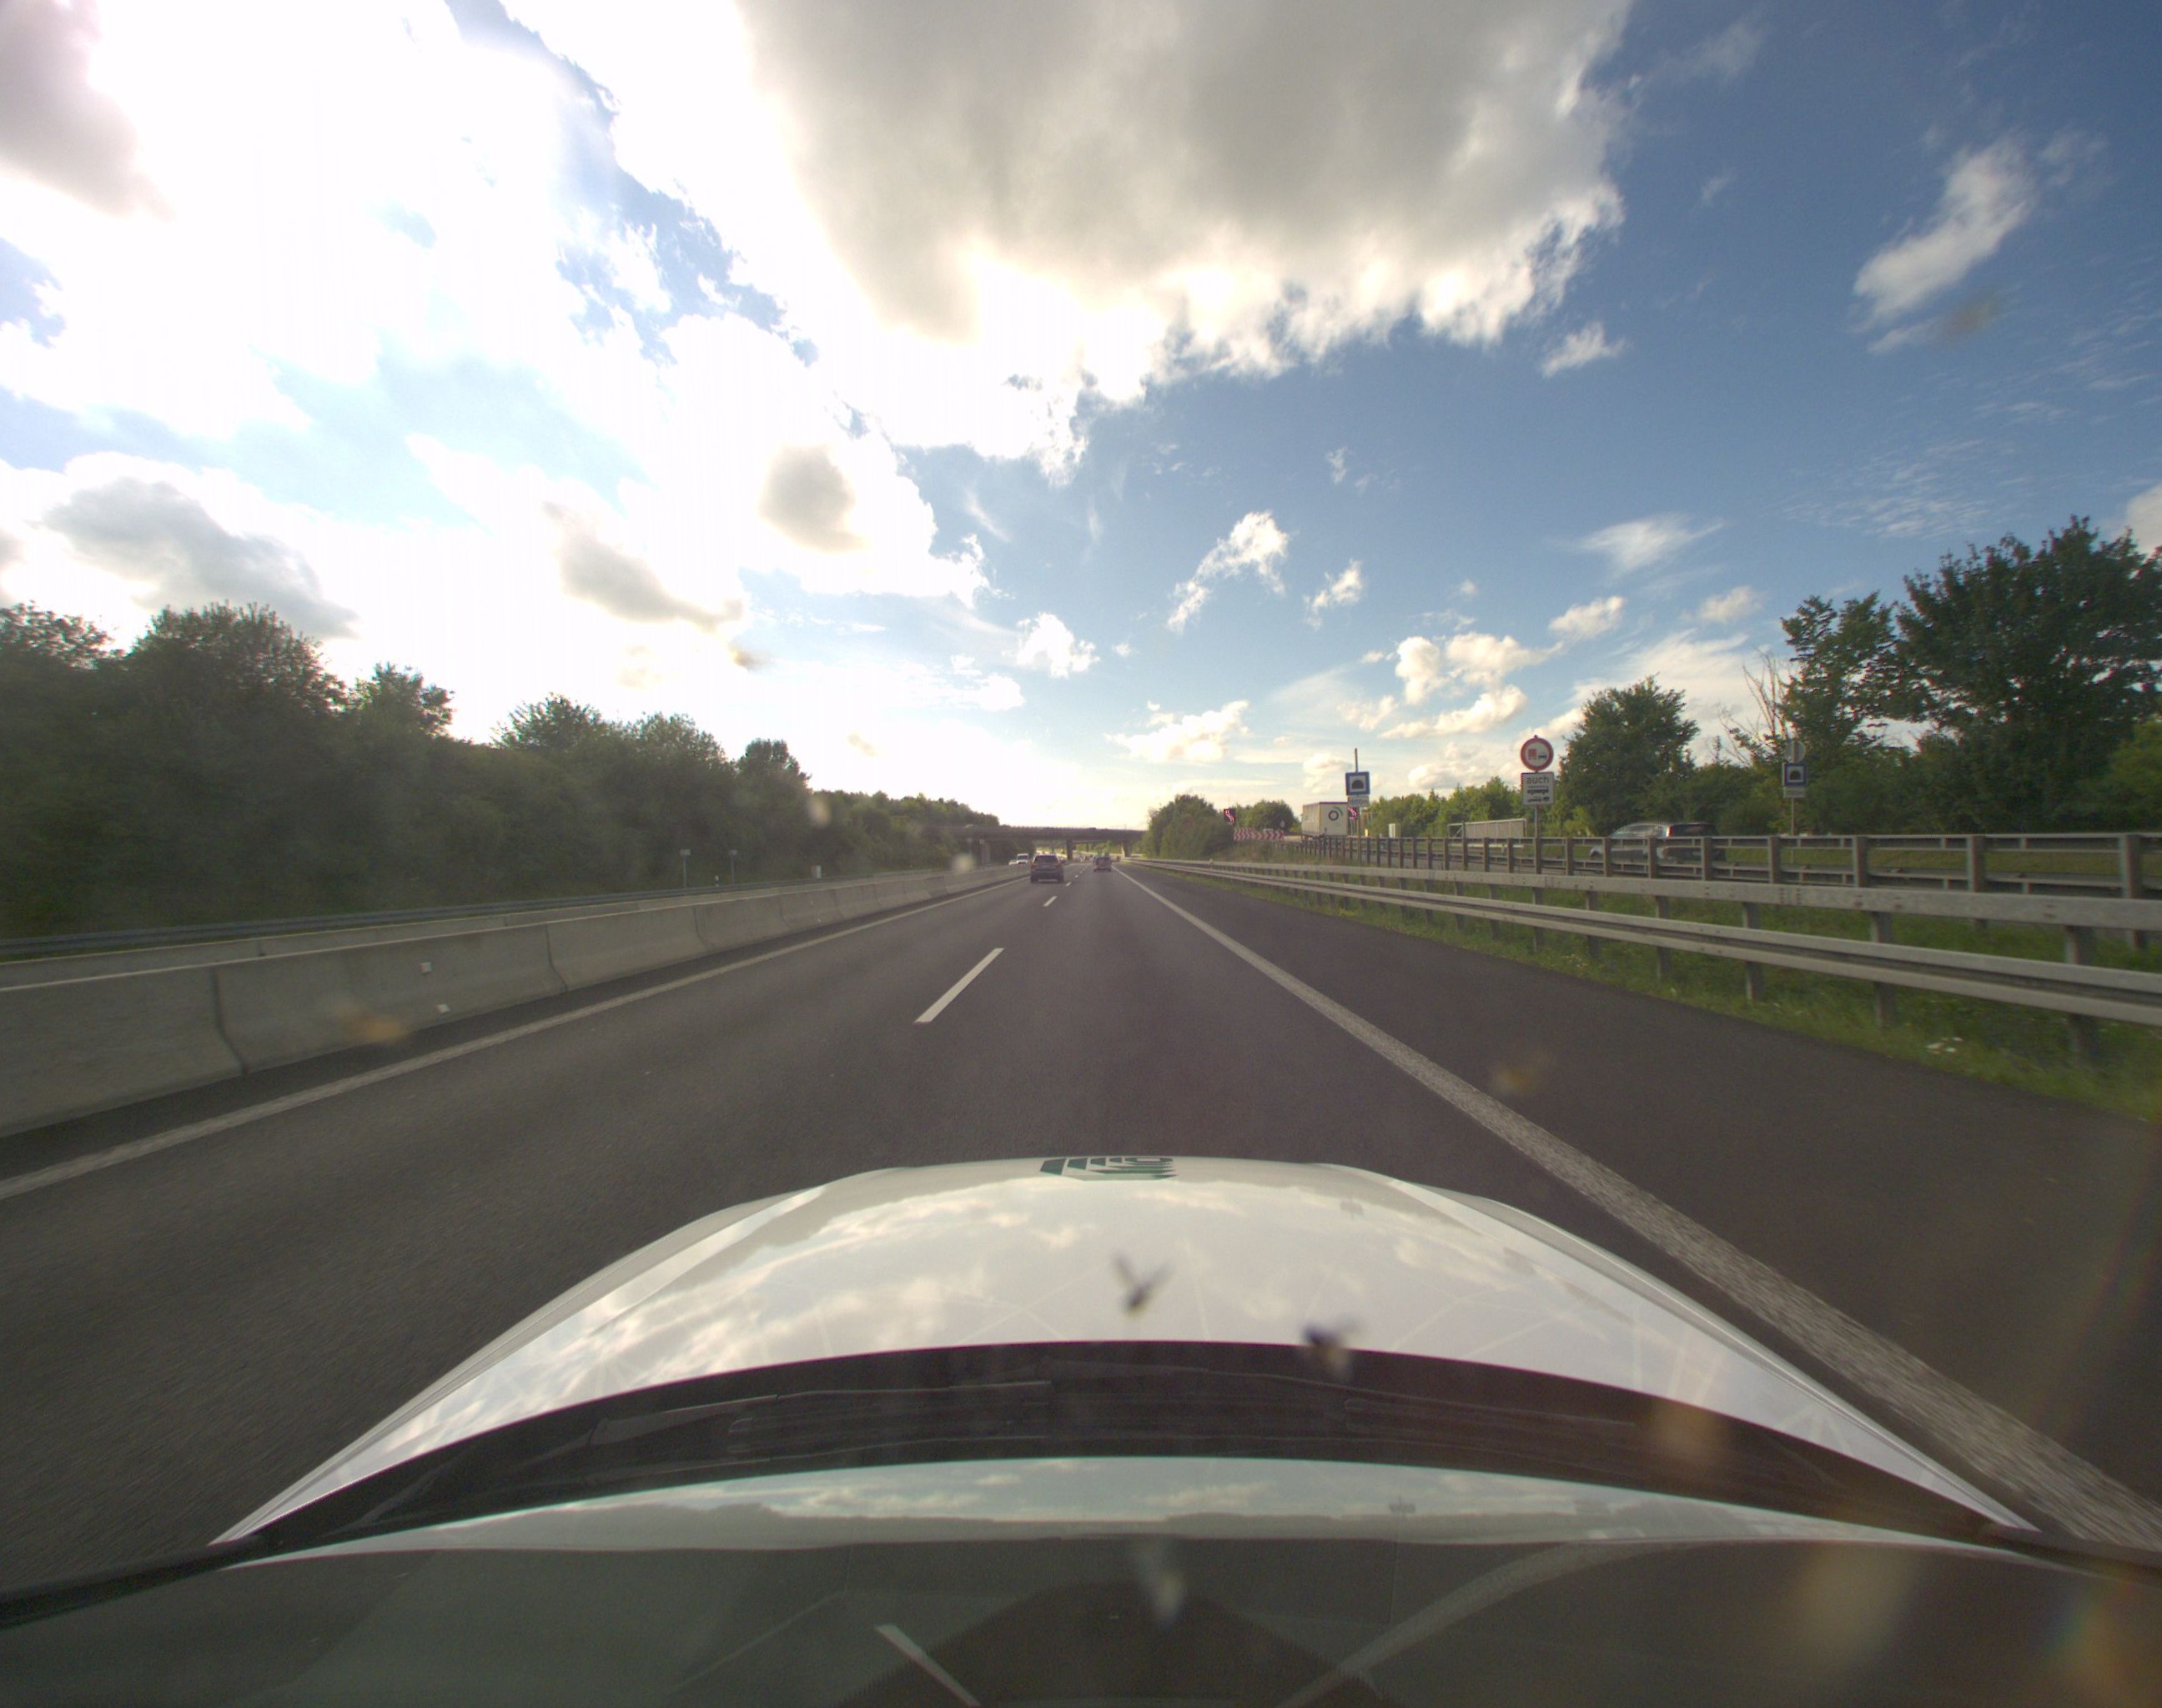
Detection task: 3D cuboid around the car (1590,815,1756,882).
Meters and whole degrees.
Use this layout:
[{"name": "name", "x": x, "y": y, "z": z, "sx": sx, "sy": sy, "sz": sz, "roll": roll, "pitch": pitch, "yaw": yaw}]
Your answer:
[{"name": "car", "x": 17.257, "y": -0.134, "z": 24.014, "sx": 1.986, "sy": 1.717, "sz": 4.001, "roll": -3, "pitch": 0, "yaw": 1}]

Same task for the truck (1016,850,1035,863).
[{"name": "truck", "x": -8.906, "y": 0.426, "z": 130.792, "sx": 2.368, "sy": 2.013, "sz": 7.437, "roll": -3, "pitch": 0, "yaw": 1}]

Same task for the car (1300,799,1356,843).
[{"name": "car", "x": 23.278, "y": -3.068, "z": 77.185, "sx": 3.558, "sy": 3.676, "sz": 7.562, "roll": -3, "pitch": 0, "yaw": 6}]

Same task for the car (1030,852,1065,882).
[{"name": "car", "x": -1.969, "y": 0.745, "z": 49.093, "sx": 1.743, "sy": 1.630, "sz": 3.611, "roll": -3, "pitch": 0, "yaw": 3}]

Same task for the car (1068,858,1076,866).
[{"name": "car", "x": -2.517, "y": 2.275, "z": 221.980, "sx": 1.987, "sy": 2.013, "sz": 4.000, "roll": -3, "pitch": 0, "yaw": 1}]

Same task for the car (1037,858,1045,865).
[{"name": "car", "x": -11.964, "y": 2.333, "z": 242.539, "sx": 1.987, "sy": 1.896, "sz": 4.823, "roll": -3, "pitch": 0, "yaw": 1}]

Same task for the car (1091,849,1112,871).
[{"name": "car", "x": 2.112, "y": 0.632, "z": 82.441, "sx": 1.986, "sy": 2.081, "sz": 4.001, "roll": -3, "pitch": 0, "yaw": 1}]

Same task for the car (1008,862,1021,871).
[{"name": "car", "x": -13.040, "y": 2.417, "z": 158.807, "sx": 1.987, "sy": 1.436, "sz": 4.725, "roll": -3, "pitch": 0, "yaw": 1}]
